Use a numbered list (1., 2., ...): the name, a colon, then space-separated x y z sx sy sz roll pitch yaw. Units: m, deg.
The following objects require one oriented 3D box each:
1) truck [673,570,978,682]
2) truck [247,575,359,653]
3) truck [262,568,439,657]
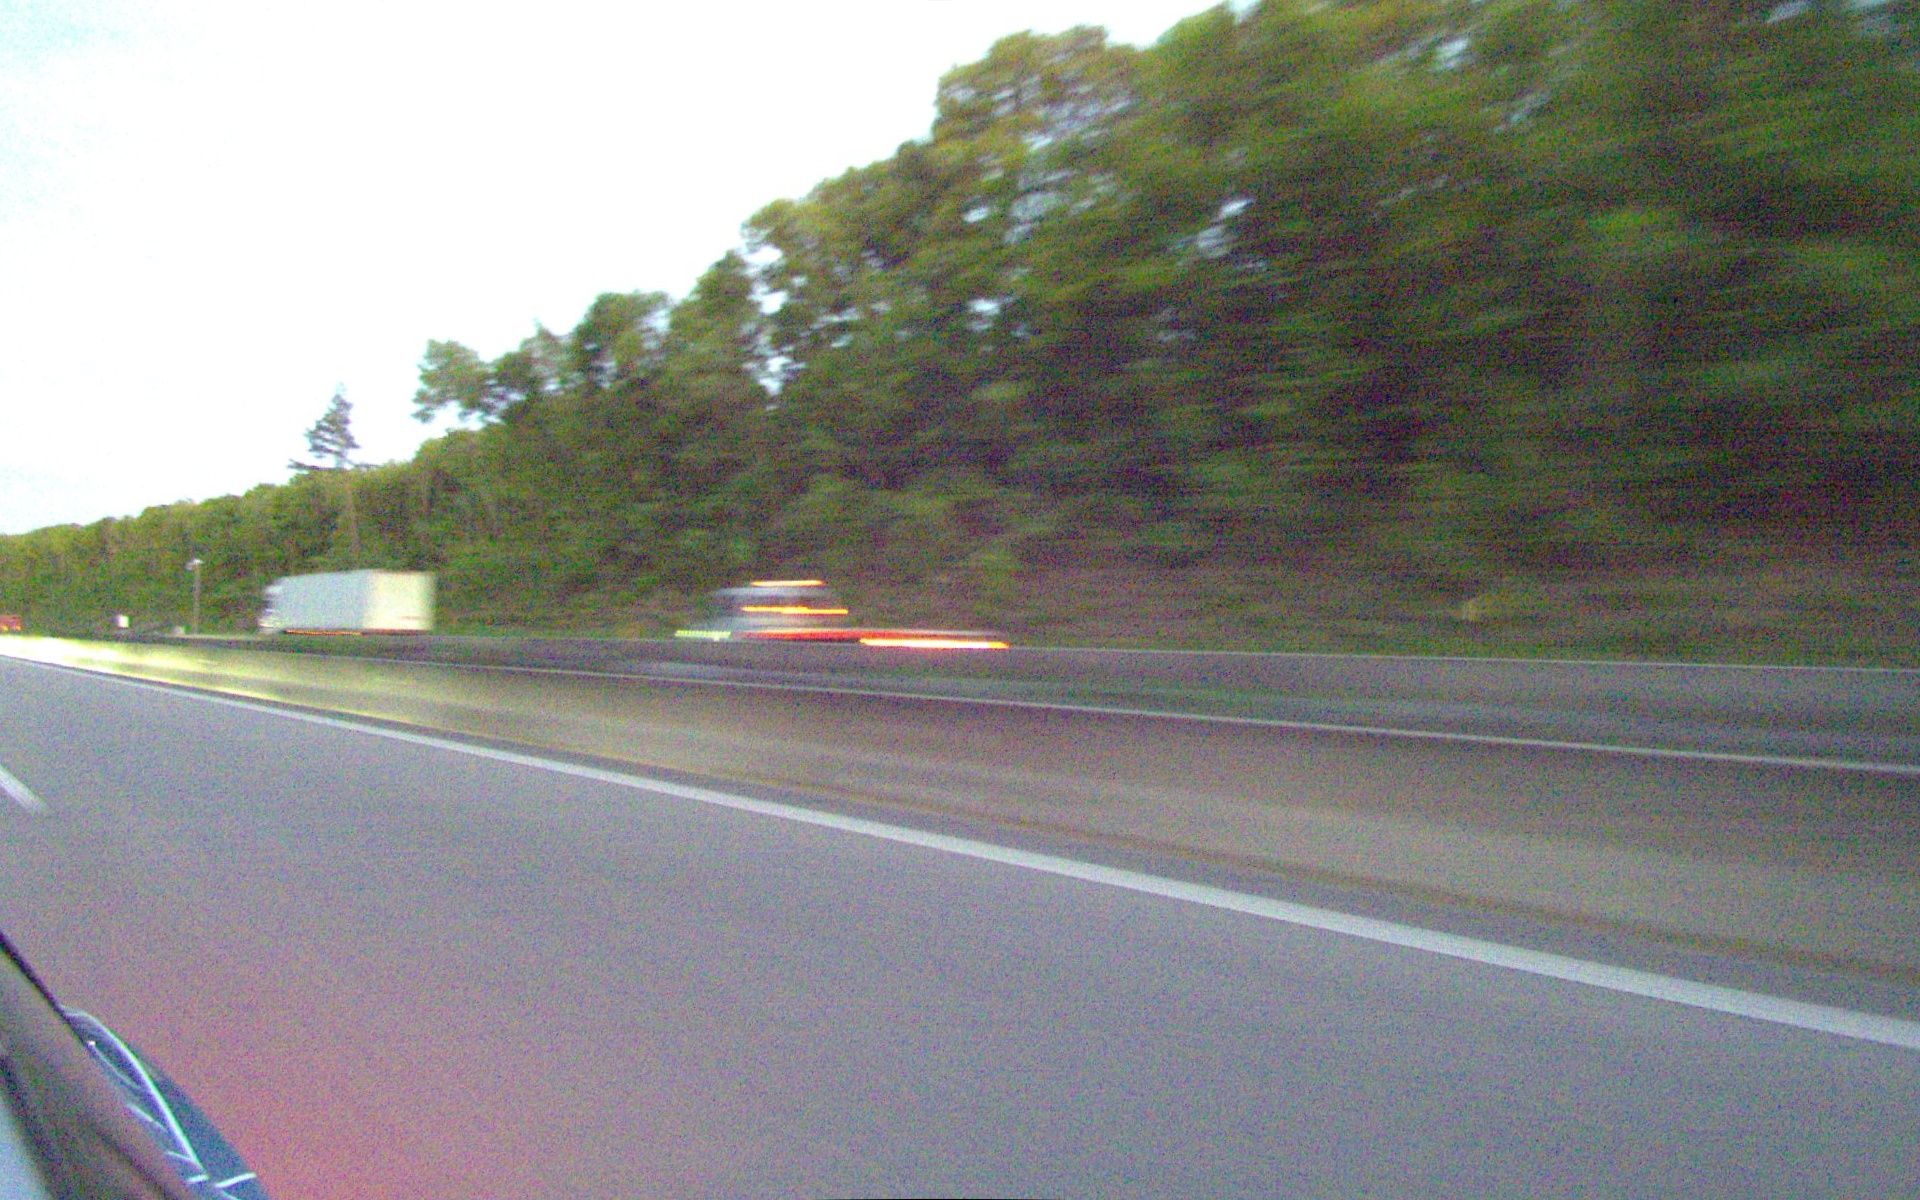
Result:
1. truck: -3.969 0.678 27.029 9.754 2.529 2.434 -1 -1 43
2. truck: -36.526 0.839 56.180 6.875 4.034 3.345 -2 -2 41
3. truck: -31.416 0.755 51.667 14.487 4.034 3.322 -2 -2 41
